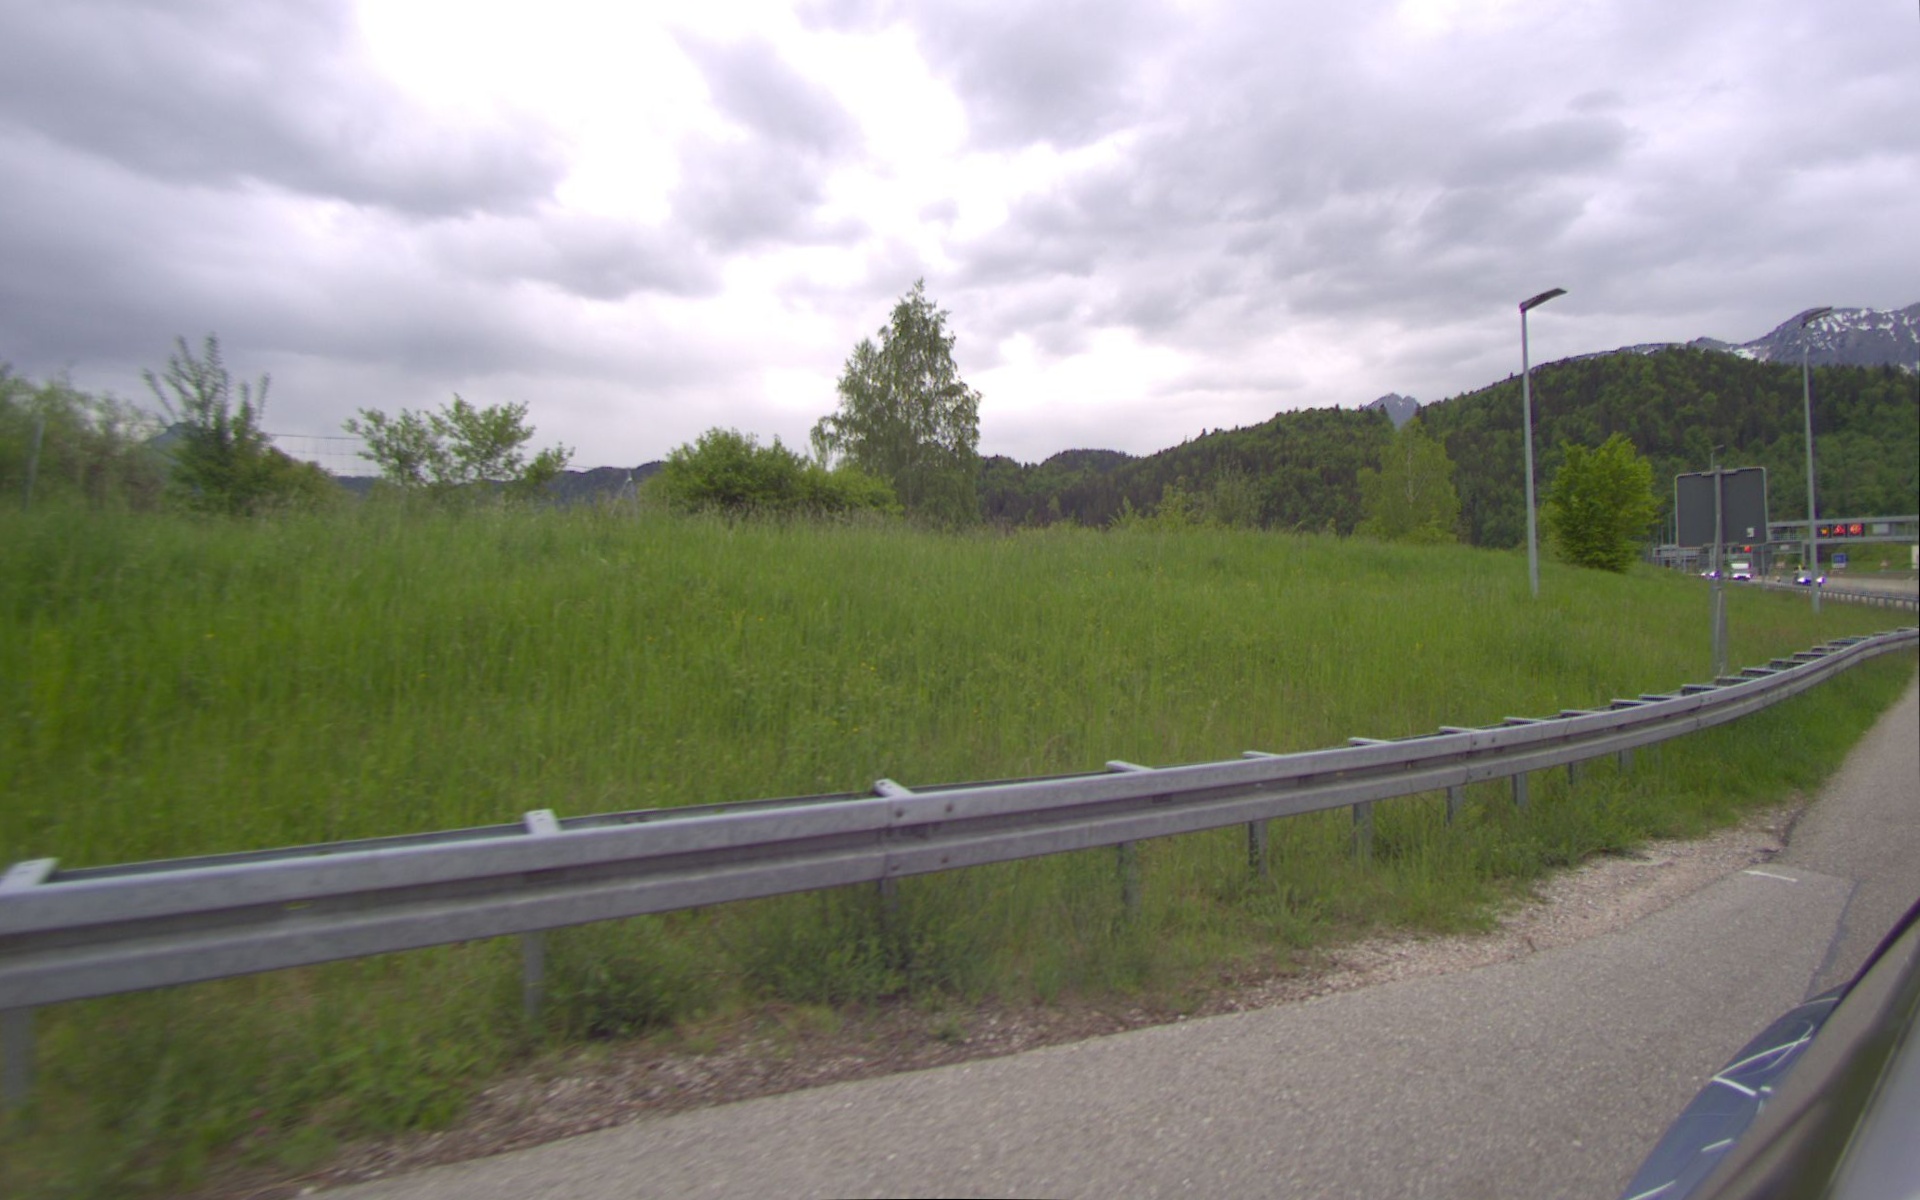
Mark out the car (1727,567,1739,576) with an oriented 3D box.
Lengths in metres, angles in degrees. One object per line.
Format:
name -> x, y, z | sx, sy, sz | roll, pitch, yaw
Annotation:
car -> 139.775, -5.154, 182.973 | 1.623, 1.719, 3.448 | 1, 2, 38

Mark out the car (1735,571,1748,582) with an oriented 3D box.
car -> 124.557, -3.790, 161.338 | 1.623, 1.719, 3.448 | 1, 2, 38

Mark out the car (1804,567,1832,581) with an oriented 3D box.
car -> 82.806, -2.527, 97.654 | 1.654, 1.353, 3.746 | 1, 2, 34
